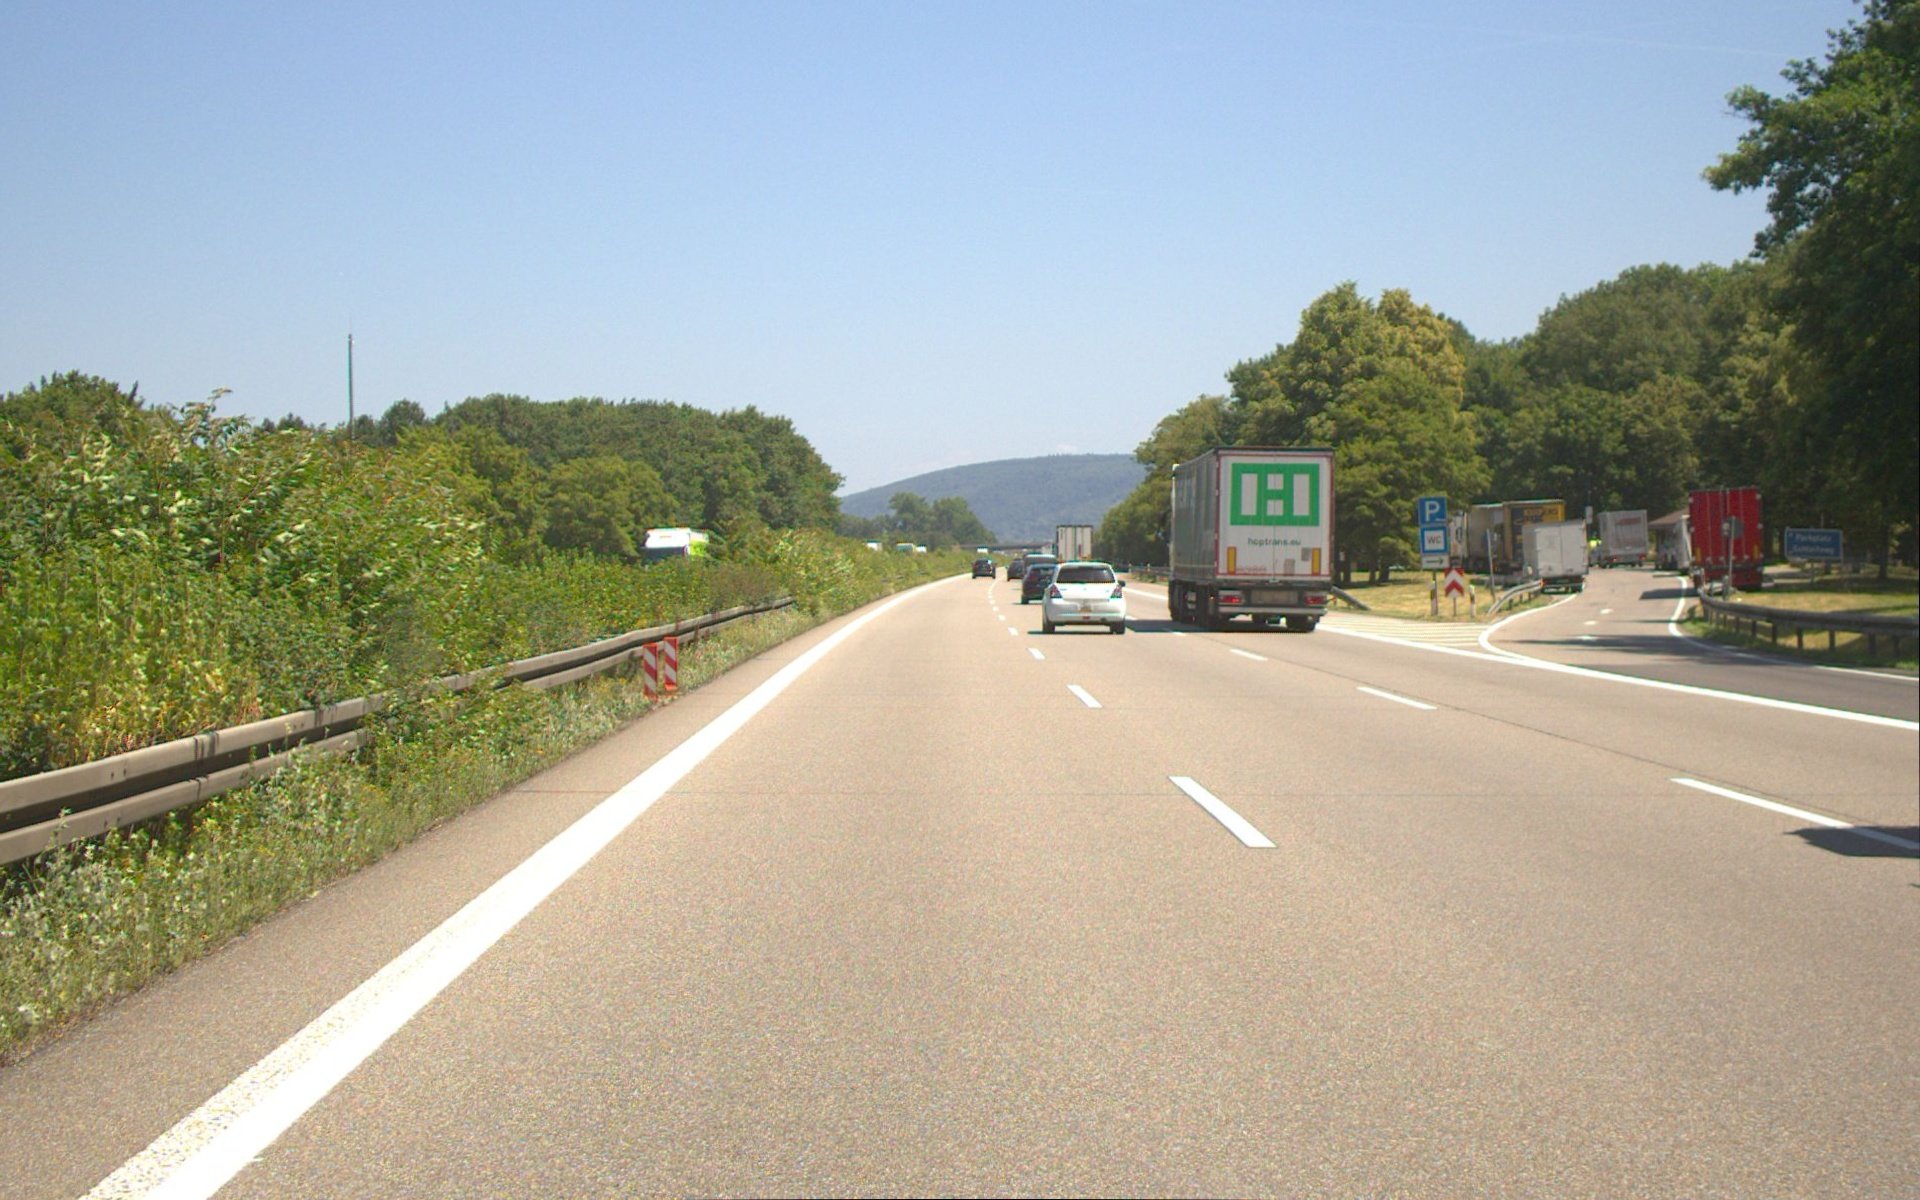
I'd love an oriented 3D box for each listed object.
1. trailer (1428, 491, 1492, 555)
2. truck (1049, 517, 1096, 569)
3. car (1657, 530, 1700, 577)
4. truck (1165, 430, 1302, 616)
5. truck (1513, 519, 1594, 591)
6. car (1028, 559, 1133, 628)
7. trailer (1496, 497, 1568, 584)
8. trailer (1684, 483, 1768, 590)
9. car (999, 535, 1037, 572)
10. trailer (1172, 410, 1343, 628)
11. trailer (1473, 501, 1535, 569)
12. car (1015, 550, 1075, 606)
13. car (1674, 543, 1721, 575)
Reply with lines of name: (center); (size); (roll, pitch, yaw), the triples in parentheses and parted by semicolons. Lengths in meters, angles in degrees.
trailer: (31.845, -4.867, 219.471); (3.136, 3.939, 14.194); (-1, 1, 5)
truck: (8.295, -4.184, 254.064); (3.325, 3.744, 12.795); (1, 1, 1)
car: (38.187, -2.480, 182.819); (1.994, 2.431, 4.778); (-1, 1, 9)
truck: (6.930, -1.929, 87.836); (3.182, 4.591, 5.947); (0, 1, 2)
truck: (24.894, -1.878, 144.508); (2.468, 2.936, 7.658); (0, 1, 3)
car: (2.539, -0.156, 73.321); (1.811, 1.400, 3.318); (-1, 1, -6)
trailer: (26.915, -2.754, 161.668); (3.185, 3.921, 11.546); (0, 1, 10)
trailer: (29.470, -2.430, 132.258); (2.981, 3.865, 12.881); (-1, 1, 13)
car: (3.136, -2.529, 186.753); (1.882, 2.007, 4.000); (-1, 1, -1)
trailer: (6.704, -1.798, 79.213); (3.182, 4.611, 12.050); (-1, 1, 2)
trailer: (31.488, -3.737, 199.364); (3.103, 3.777, 13.359); (1, 1, 7)
car: (3.001, -0.779, 120.899); (1.897, 1.886, 4.000); (-1, 1, 4)
car: (34.762, -1.941, 162.217); (1.994, 1.446, 5.032); (-1, 1, 10)
